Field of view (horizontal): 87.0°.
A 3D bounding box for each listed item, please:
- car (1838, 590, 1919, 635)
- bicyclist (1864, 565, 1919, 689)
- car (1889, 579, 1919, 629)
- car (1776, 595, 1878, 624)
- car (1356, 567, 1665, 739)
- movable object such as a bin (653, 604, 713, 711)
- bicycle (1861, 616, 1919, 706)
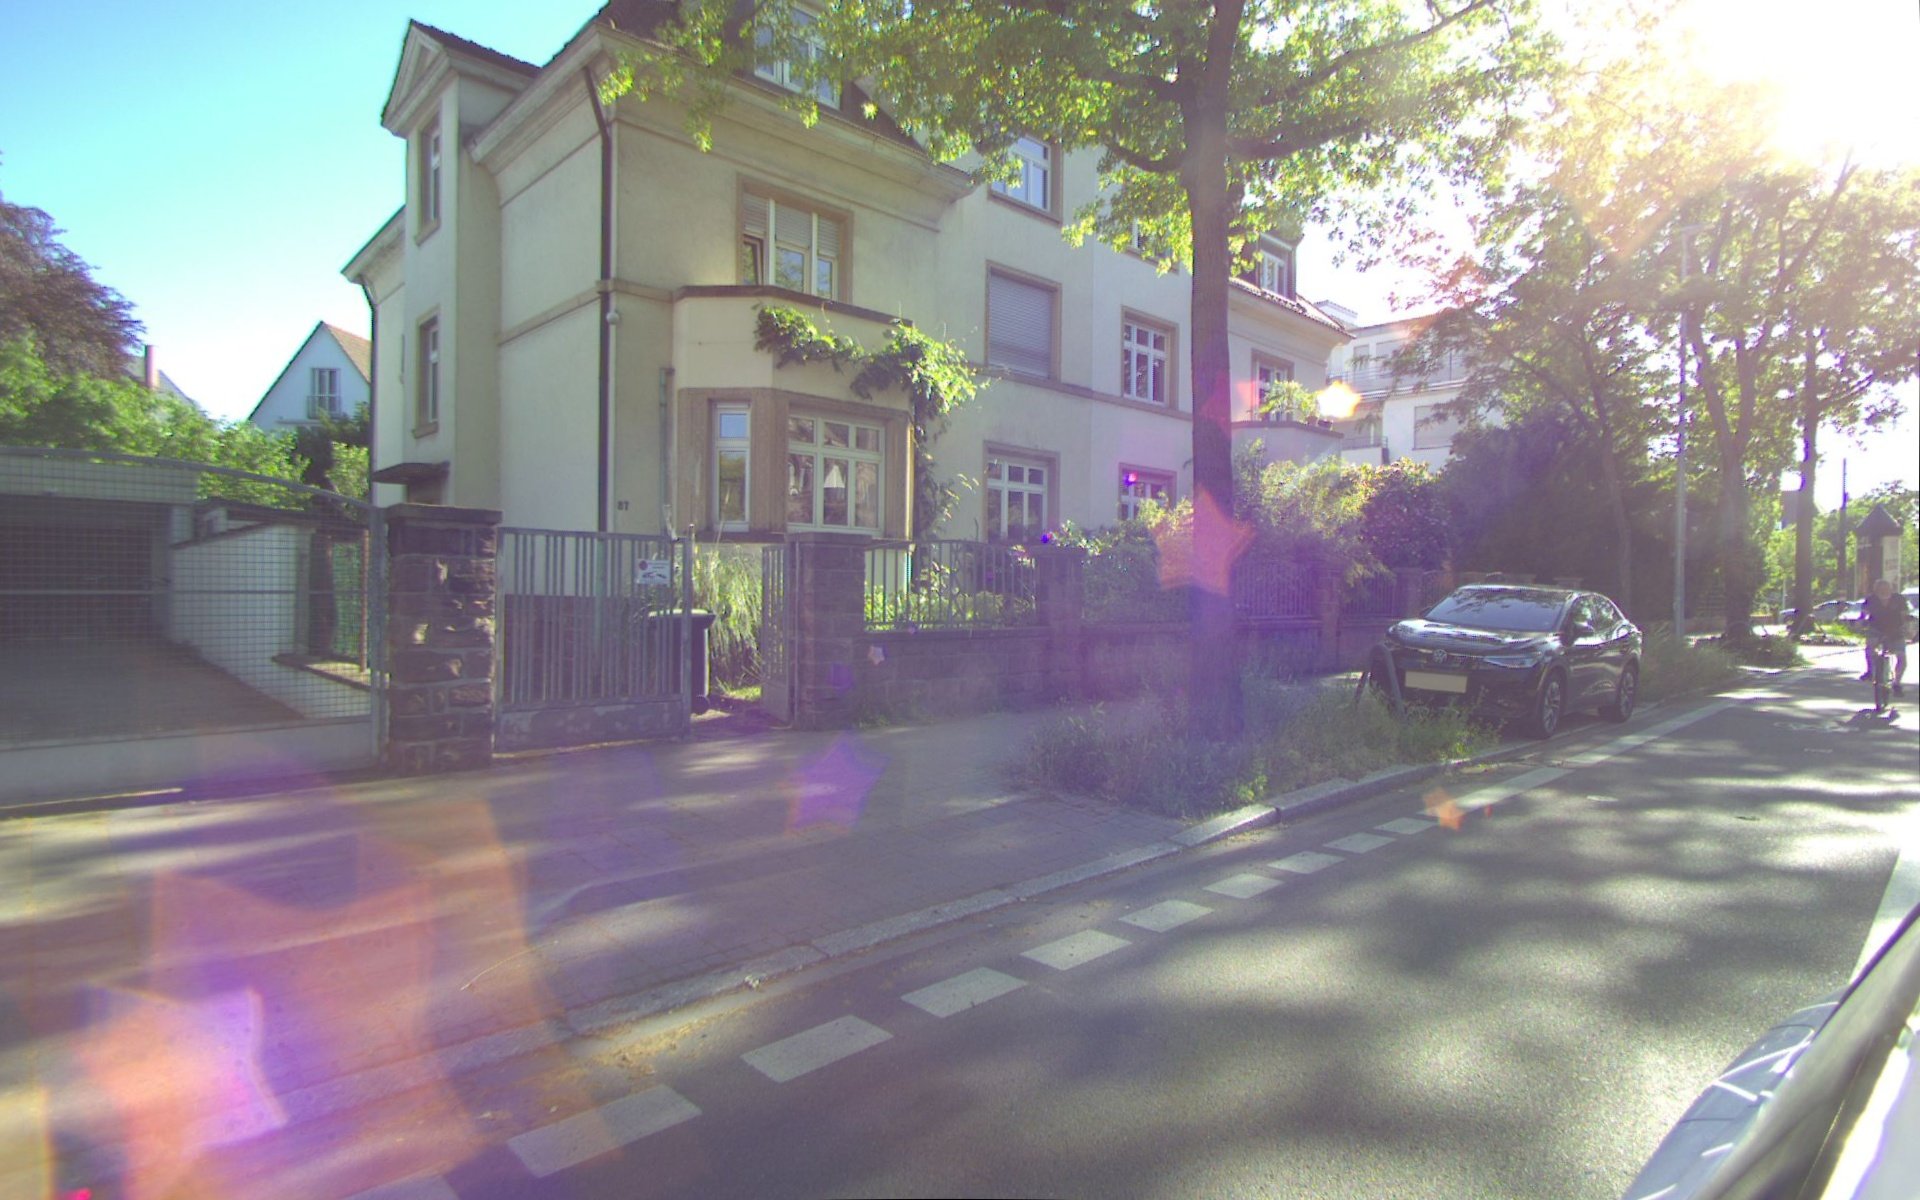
[{"bbox_3d":[31.506,0.383,34.269,4.181,1.427,1.901,0,1,-38],"label":"car"},{"bbox_3d":[12.996,0.355,14.002,0.654,1.662,0.643,0,0,-41],"label":"bicyclist"},{"bbox_3d":[36.666,0.130,37.851,4.580,1.808,1.903,0,1,-35],"label":"car"},{"bbox_3d":[46.060,0.460,53.835,1.784,1.459,3.990,0,1,-44],"label":"car"},{"bbox_3d":[6.704,0.496,12.131,4.186,1.619,1.917,0,4,-42],"label":"car"},{"bbox_3d":[-2.928,0.586,10.666,0.551,1.062,0.676,0,0,-20],"label":"movable object such as a bin"},{"bbox_3d":[12.998,0.805,13.985,1.823,1.125,0.588,0,0,-41],"label":"bicycle"}]
